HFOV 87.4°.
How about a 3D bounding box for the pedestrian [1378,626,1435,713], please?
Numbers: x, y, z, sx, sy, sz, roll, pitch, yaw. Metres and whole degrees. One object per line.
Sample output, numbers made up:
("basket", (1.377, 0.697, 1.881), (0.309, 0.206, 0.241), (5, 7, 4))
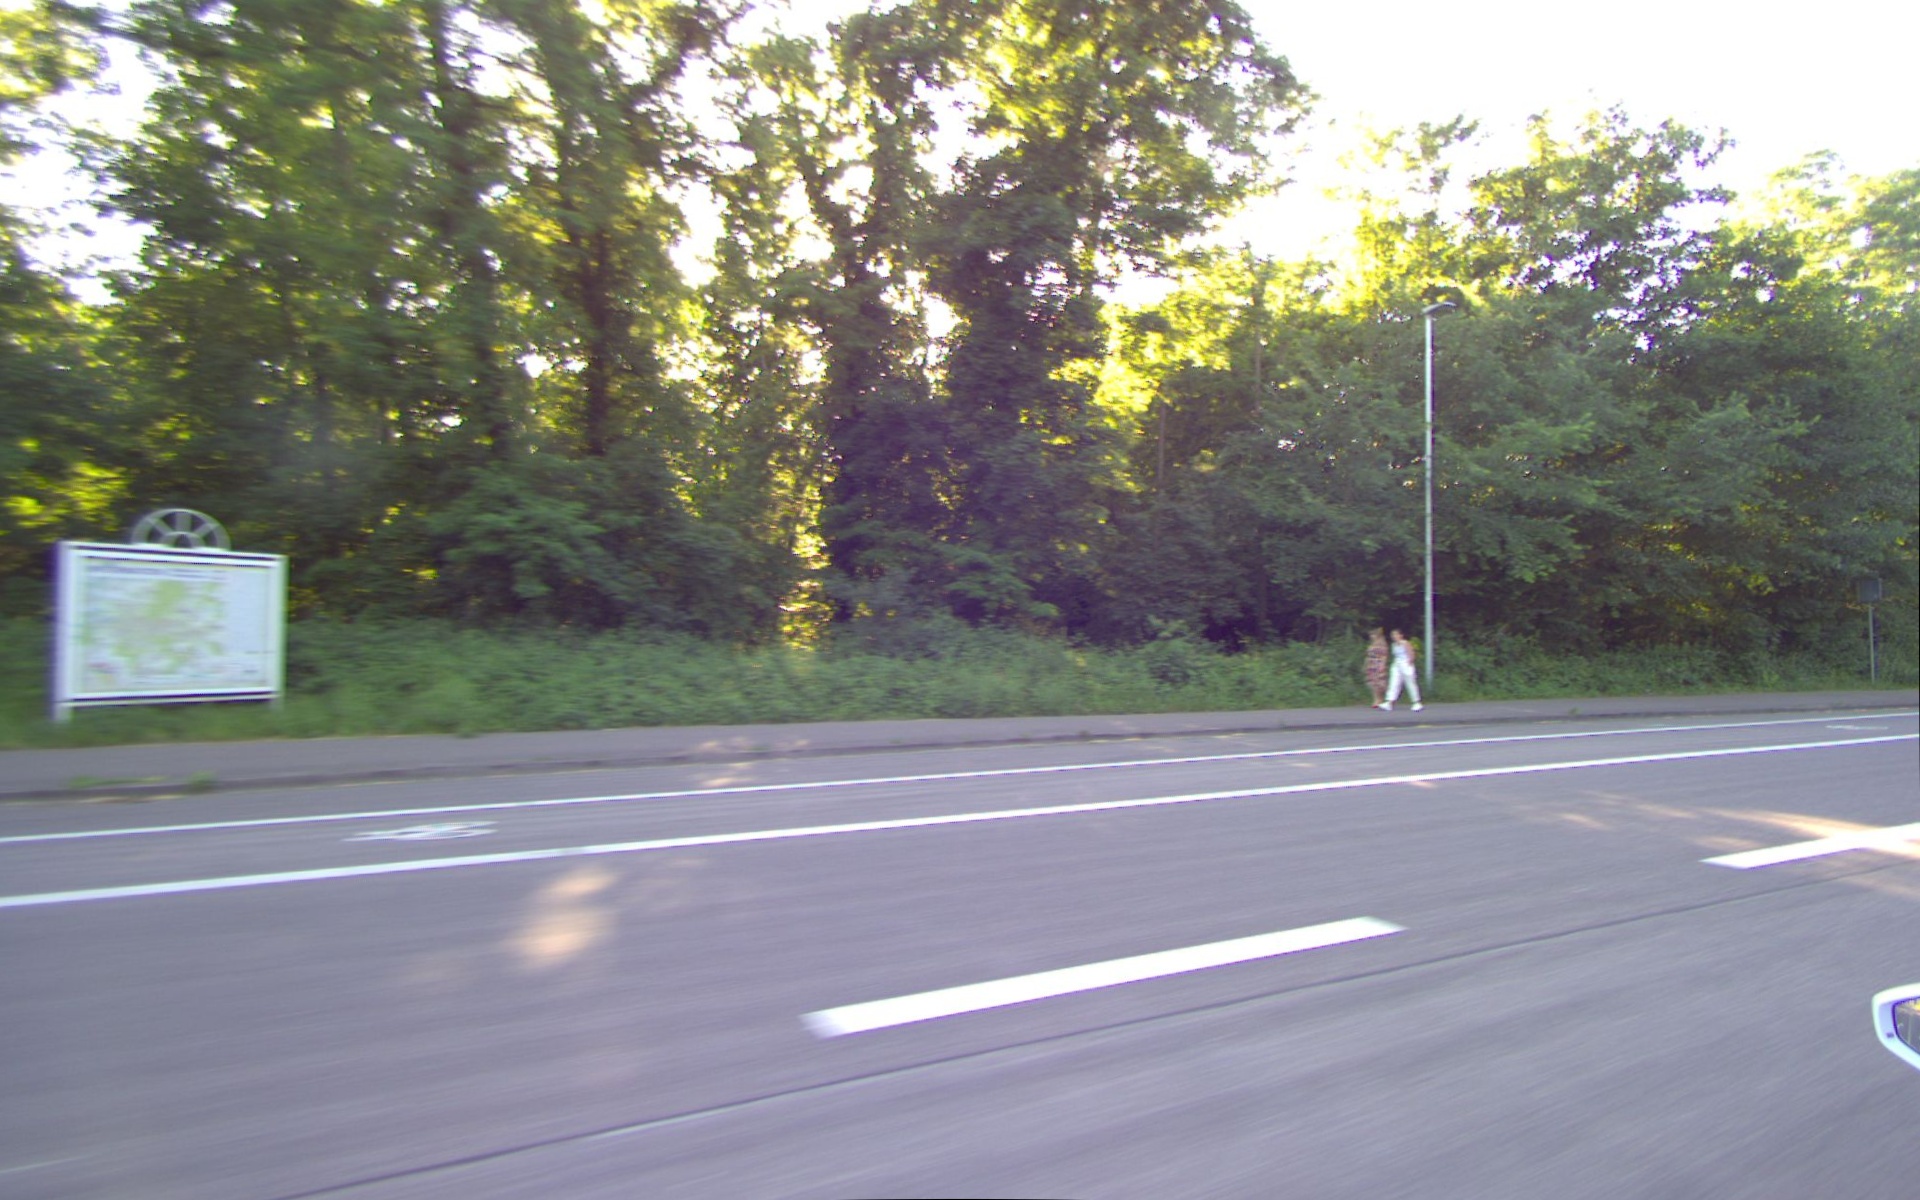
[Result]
("pedestrian", (8.827, 1.351, 19.859), (0.778, 1.675, 0.673), (1, -2, -22))

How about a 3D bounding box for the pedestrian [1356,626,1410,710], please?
("pedestrian", (8.632, 1.363, 20.520), (0.778, 1.675, 0.673), (1, -2, -22))
